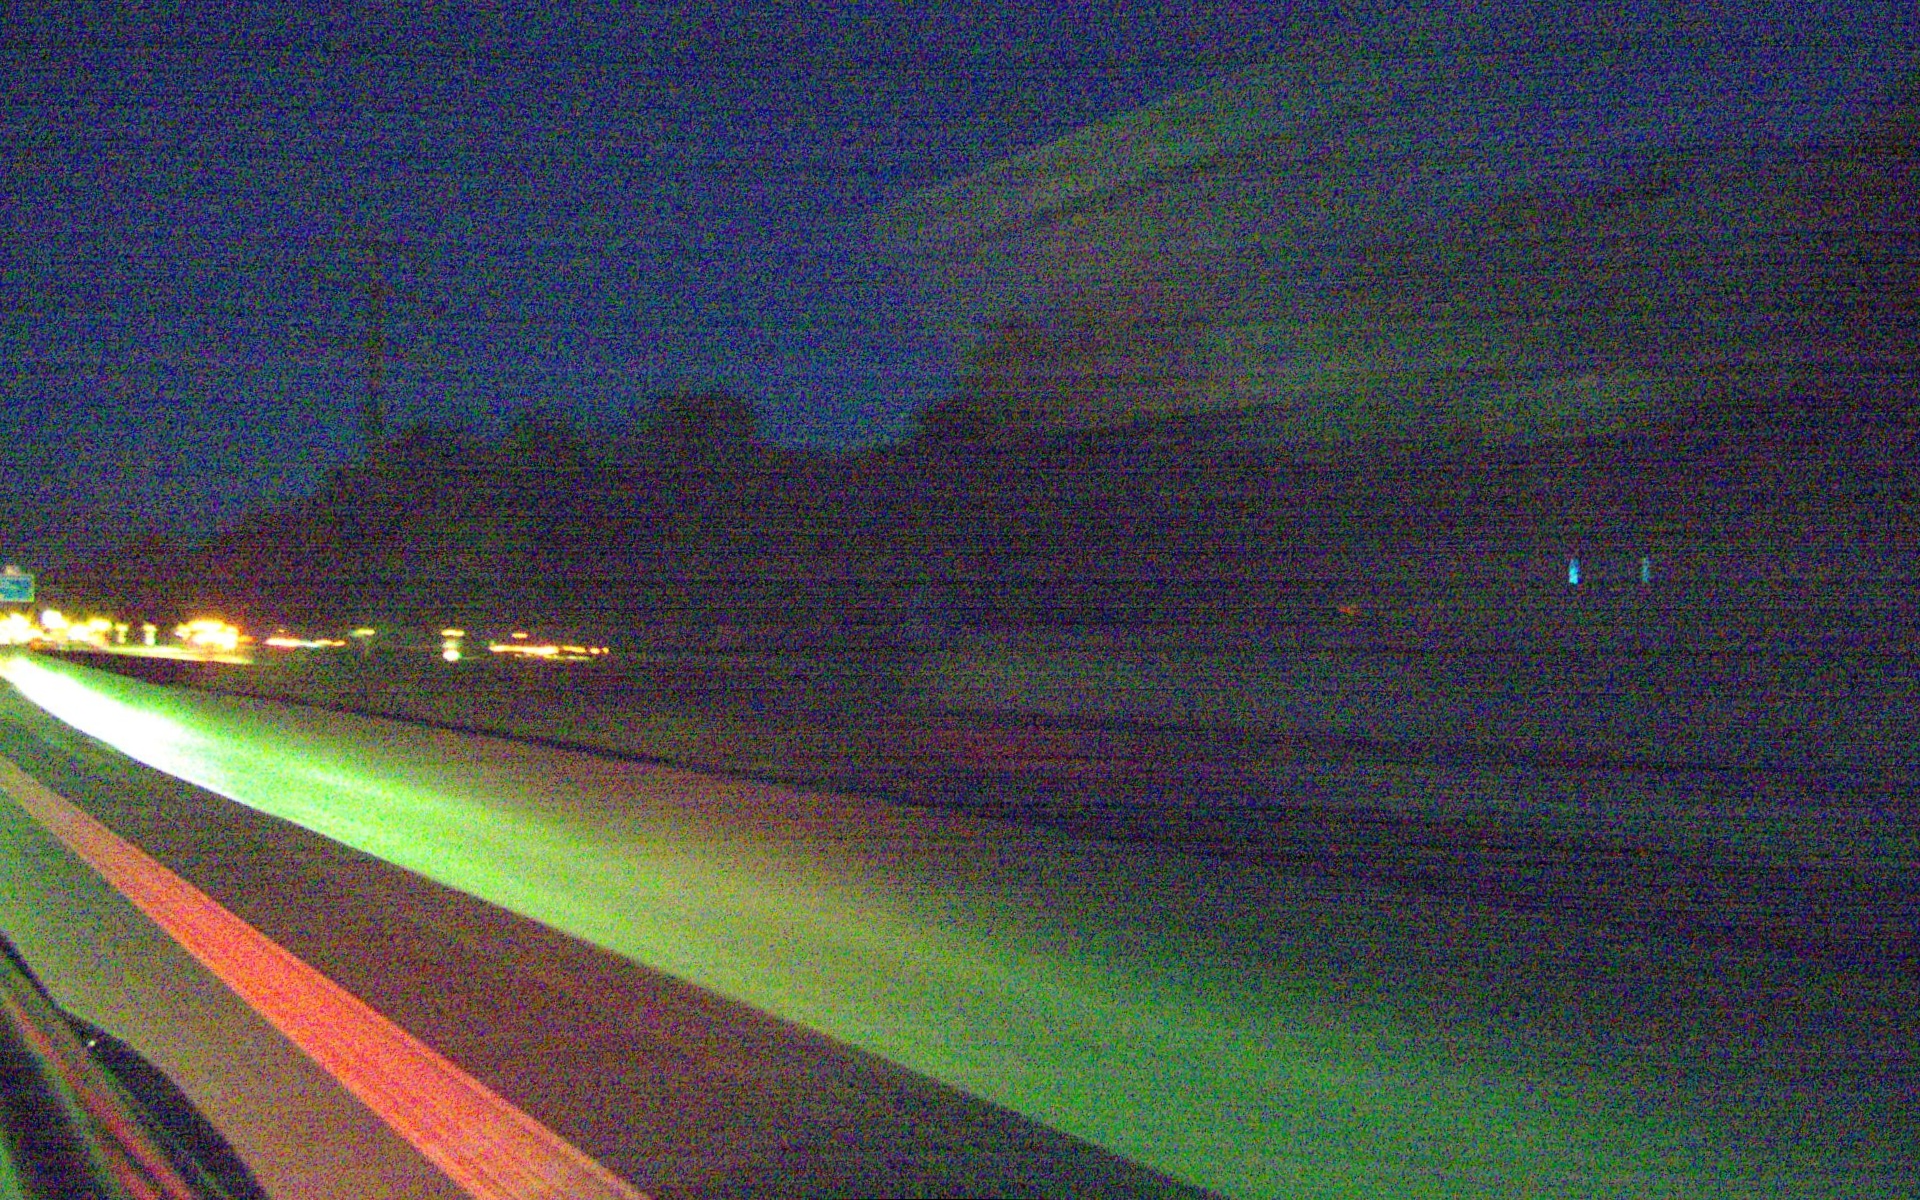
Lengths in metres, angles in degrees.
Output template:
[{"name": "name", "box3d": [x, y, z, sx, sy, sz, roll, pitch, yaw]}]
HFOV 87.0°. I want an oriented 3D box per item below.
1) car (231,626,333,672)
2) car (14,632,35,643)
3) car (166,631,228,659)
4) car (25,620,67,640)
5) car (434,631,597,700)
[{"name": "car", "box3d": [-23.775, 1.693, 35.418, 4.578, 1.490, 1.732, -1, -4, 40]}, {"name": "car", "box3d": [-121.271, 4.893, 131.141, 4.810, 1.344, 1.643, -2, -4, 44]}, {"name": "car", "box3d": [-42.993, 2.508, 56.997, 4.578, 1.490, 1.732, -1, -4, 40]}, {"name": "car", "box3d": [-70.078, 2.305, 77.550, 4.578, 1.490, 1.732, -1, -4, 40]}, {"name": "car", "box3d": [-10.678, 1.508, 24.156, 4.580, 1.490, 1.732, -1, -4, 41]}]
